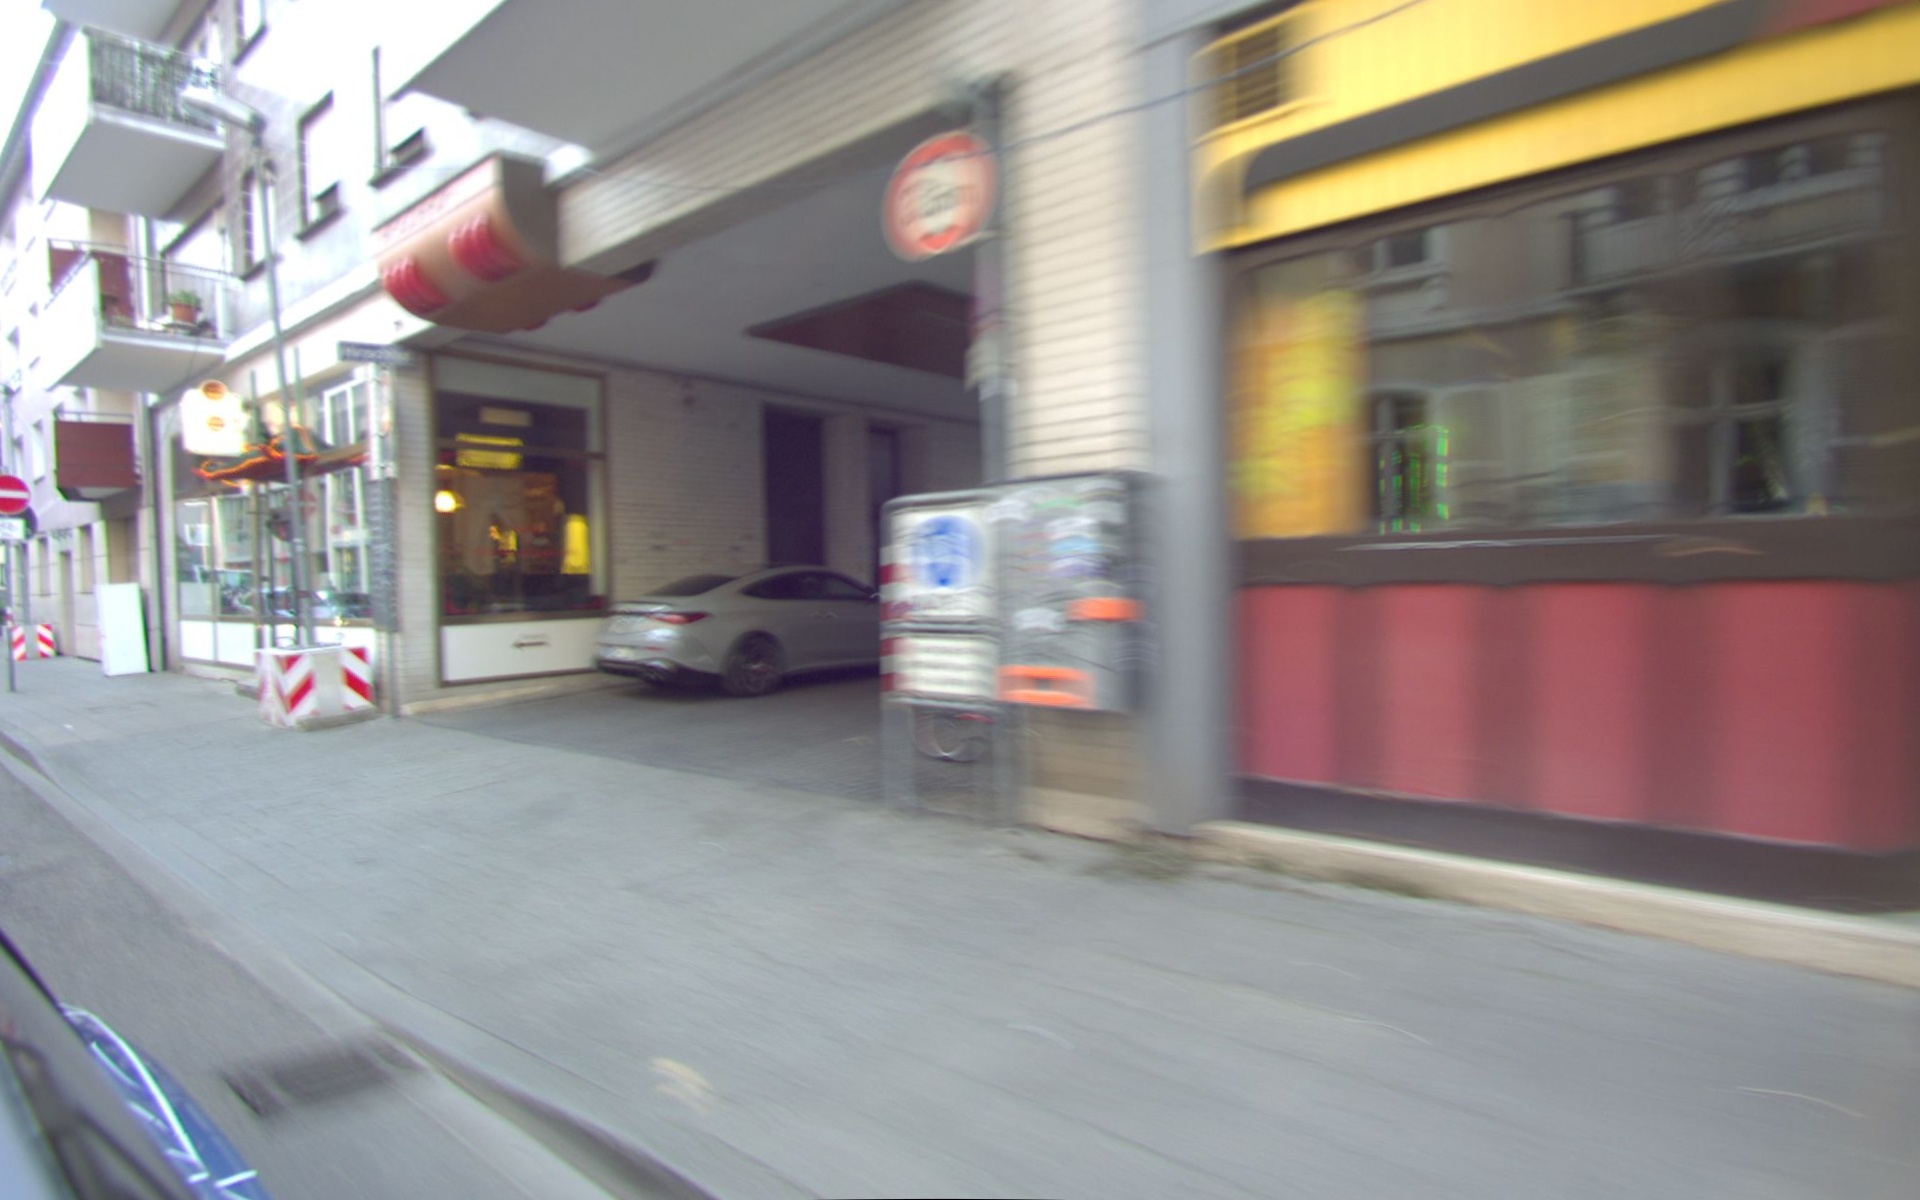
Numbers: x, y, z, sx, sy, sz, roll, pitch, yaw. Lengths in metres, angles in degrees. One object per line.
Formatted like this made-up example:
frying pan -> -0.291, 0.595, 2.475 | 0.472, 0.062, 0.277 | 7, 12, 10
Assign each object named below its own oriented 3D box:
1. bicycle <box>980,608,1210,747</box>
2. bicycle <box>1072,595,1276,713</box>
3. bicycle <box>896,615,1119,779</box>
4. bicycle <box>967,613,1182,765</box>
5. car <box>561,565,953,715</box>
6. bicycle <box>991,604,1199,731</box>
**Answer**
bicycle -> 1.001, 0.576, 7.846 | 1.794, 0.968, 0.374 | -2, 0, 38
bicycle -> 1.891, 0.477, 9.142 | 1.794, 0.968, 0.373 | -2, 0, 39
bicycle -> 0.277, 0.608, 6.692 | 1.500, 0.968, 0.374 | -2, 0, 38
bicycle -> 0.774, 0.598, 7.150 | 1.500, 0.968, 0.374 | -2, 0, 38
car -> -2.230, 0.338, 12.106 | 2.018, 1.432, 4.273 | -1, 2, 39
bicycle -> 1.093, 0.551, 8.541 | 1.795, 0.968, 0.373 | -2, 0, 41
